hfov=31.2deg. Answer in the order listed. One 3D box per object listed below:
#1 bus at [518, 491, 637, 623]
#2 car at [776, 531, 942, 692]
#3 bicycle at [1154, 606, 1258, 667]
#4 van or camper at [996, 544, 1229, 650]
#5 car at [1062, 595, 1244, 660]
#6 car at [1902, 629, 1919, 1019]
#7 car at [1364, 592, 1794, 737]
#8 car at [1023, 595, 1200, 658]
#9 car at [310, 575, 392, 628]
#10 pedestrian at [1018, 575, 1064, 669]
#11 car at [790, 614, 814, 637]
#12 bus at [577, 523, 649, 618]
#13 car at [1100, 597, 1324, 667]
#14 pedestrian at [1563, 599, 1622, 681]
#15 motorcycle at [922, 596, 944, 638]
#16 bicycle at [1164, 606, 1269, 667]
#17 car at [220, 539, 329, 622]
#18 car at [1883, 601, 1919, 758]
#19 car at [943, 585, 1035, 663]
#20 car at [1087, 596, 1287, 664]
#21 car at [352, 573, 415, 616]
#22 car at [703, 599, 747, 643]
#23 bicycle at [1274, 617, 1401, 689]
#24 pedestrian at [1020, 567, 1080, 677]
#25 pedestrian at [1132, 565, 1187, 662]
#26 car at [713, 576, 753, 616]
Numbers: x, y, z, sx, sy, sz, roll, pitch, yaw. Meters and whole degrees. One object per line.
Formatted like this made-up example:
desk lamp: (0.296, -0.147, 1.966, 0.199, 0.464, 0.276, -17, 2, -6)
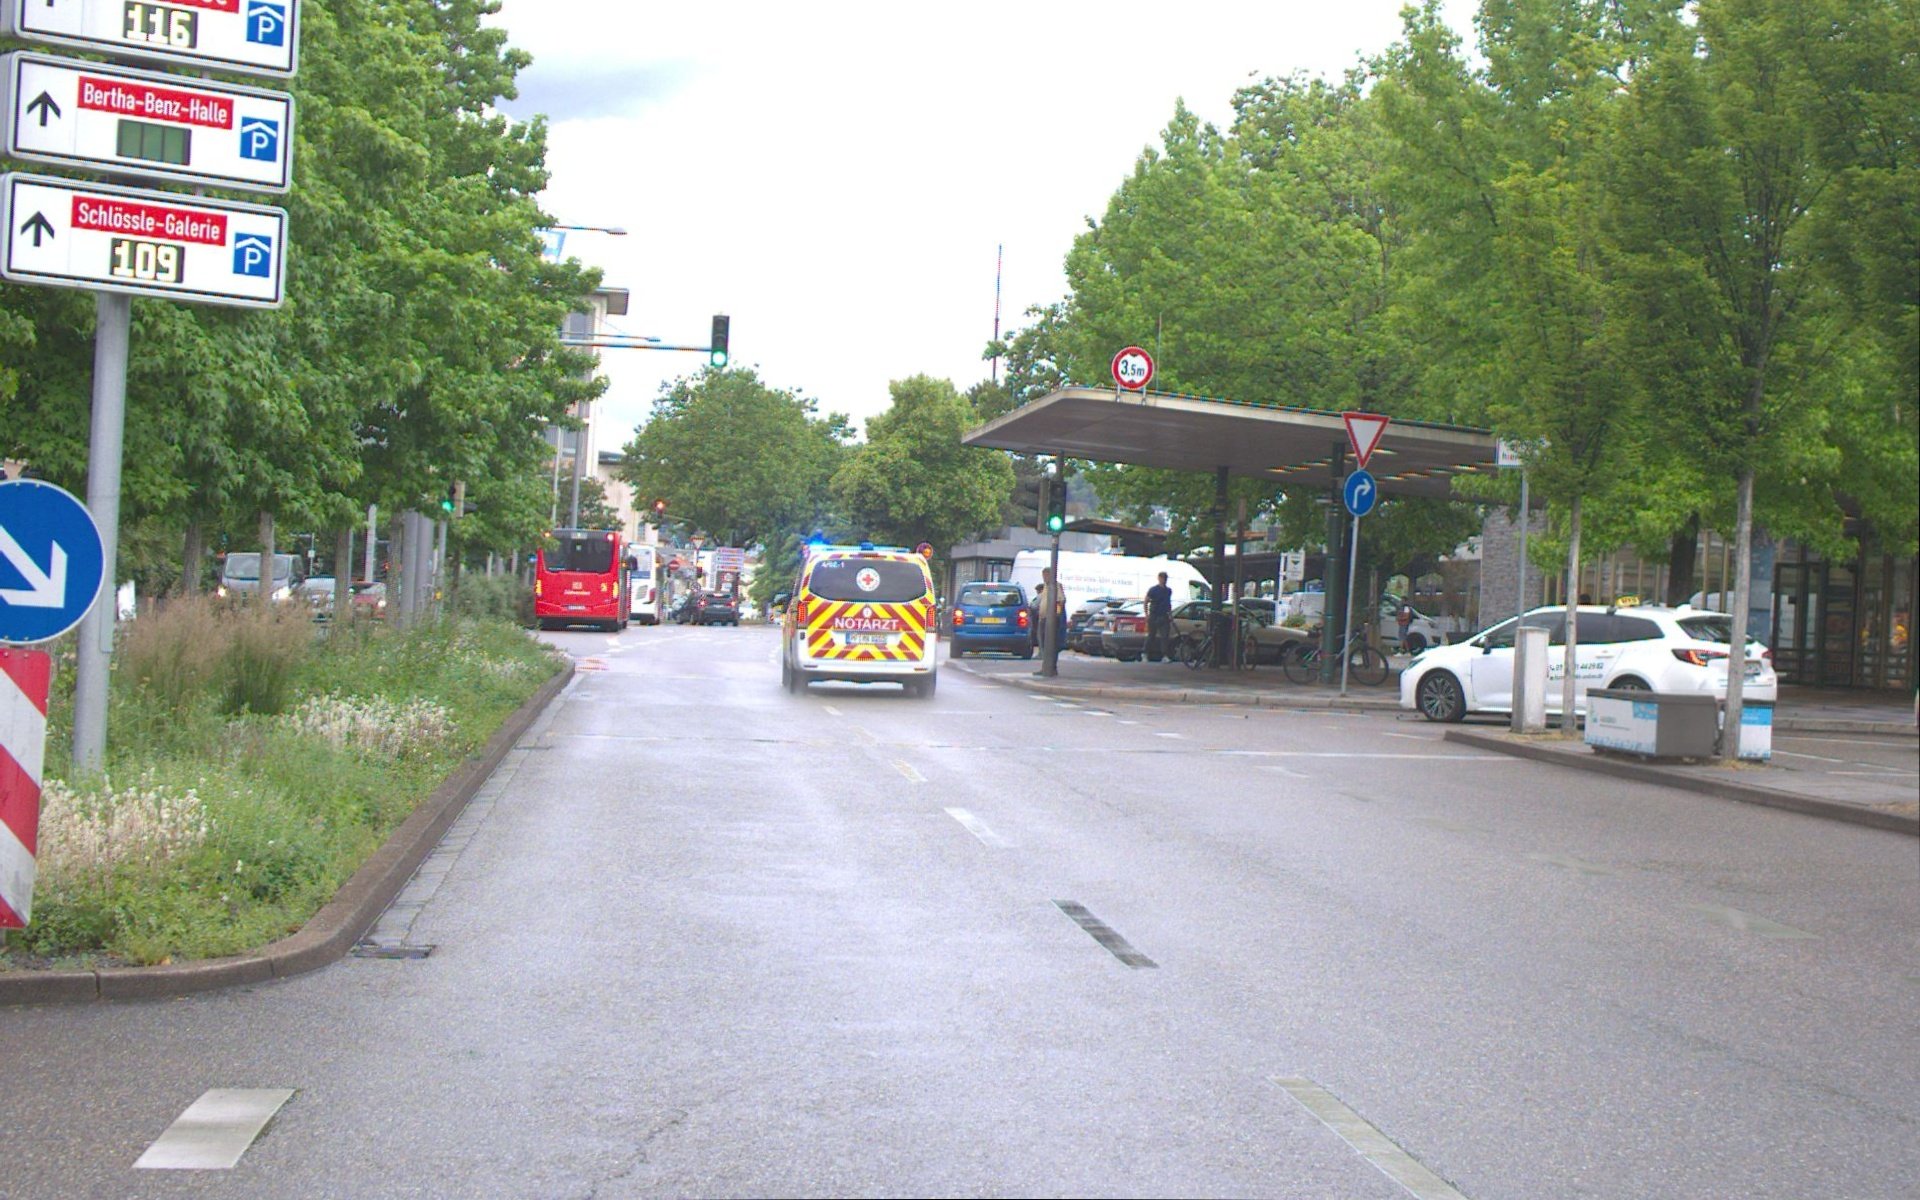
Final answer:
bus: (-12.232, -1.287, 109.551, 3.544, 3.966, 11.173, 0, 0, -7)
car: (-1.399, 0.148, 45.565, 1.993, 2.007, 5.062, 0, 0, -4)
bicycle: (4.329, 0.645, 60.428, 1.827, 1.052, 0.420, 1, 0, -22)
van or camper: (4.080, -0.054, 91.340, 5.946, 2.753, 2.199, 1, 0, -31)
car: (4.669, 0.665, 83.109, 3.986, 1.438, 1.865, 2, -1, -31)
car: (4.817, 0.848, 11.015, 1.694, 1.461, 4.453, 0, 0, -10)
car: (7.121, 0.717, 39.926, 1.759, 1.540, 4.774, 2, -1, -44)
car: (3.762, 0.658, 85.249, 3.986, 1.438, 1.865, 2, -1, -31)
car: (-18.360, 0.045, 103.808, 1.993, 1.538, 4.633, 0, 0, -4)
pedestrian: (1.731, 0.475, 73.977, 0.831, 2.007, 0.889, 1, 0, -9)
car: (-11.280, 1.811, 245.061, 1.594, 1.555, 3.650, 0, 0, -4)
bus: (-14.286, -1.183, 141.217, 2.805, 3.734, 10.447, 0, 0, -6)
car: (5.197, 0.661, 70.900, 4.184, 1.321, 1.840, 2, -1, -24)
pedestrian: (12.143, 0.763, 66.008, 0.865, 1.553, 0.814, 1, 0, -11)
motorcycle: (-0.847, 0.540, 107.919, 0.595, 1.284, 1.953, 1, 0, 1)
bicycle: (4.485, 0.640, 59.994, 1.827, 1.052, 0.420, 1, 0, -22)
car: (-17.261, -0.471, 86.761, 1.993, 2.007, 5.001, 0, 0, -3)
car: (11.119, 0.835, 33.591, 1.993, 1.594, 4.960, 0, 0, -12)
car: (0.599, 0.523, 73.698, 1.858, 1.564, 4.000, 2, -1, -1)
car: (4.930, 0.659, 74.557, 3.987, 1.354, 1.864, 2, -1, -35)
car: (-19.580, -0.194, 116.826, 1.747, 1.425, 3.954, 0, 0, -4)
car: (-11.012, 0.980, 160.820, 1.993, 2.007, 4.000, 0, 0, -4)
bicycle: (5.664, 0.794, 51.602, 1.827, 1.052, 0.420, 0, 0, -4)
pedestrian: (1.444, 0.351, 55.131, 0.746, 1.741, 0.836, 1, -1, -12)
pedestrian: (3.811, 0.267, 65.769, 0.856, 1.829, 1.190, 1, -1, -5)
car: (-11.654, -0.208, 176.241, 1.993, 2.007, 4.000, 0, 0, -4)
